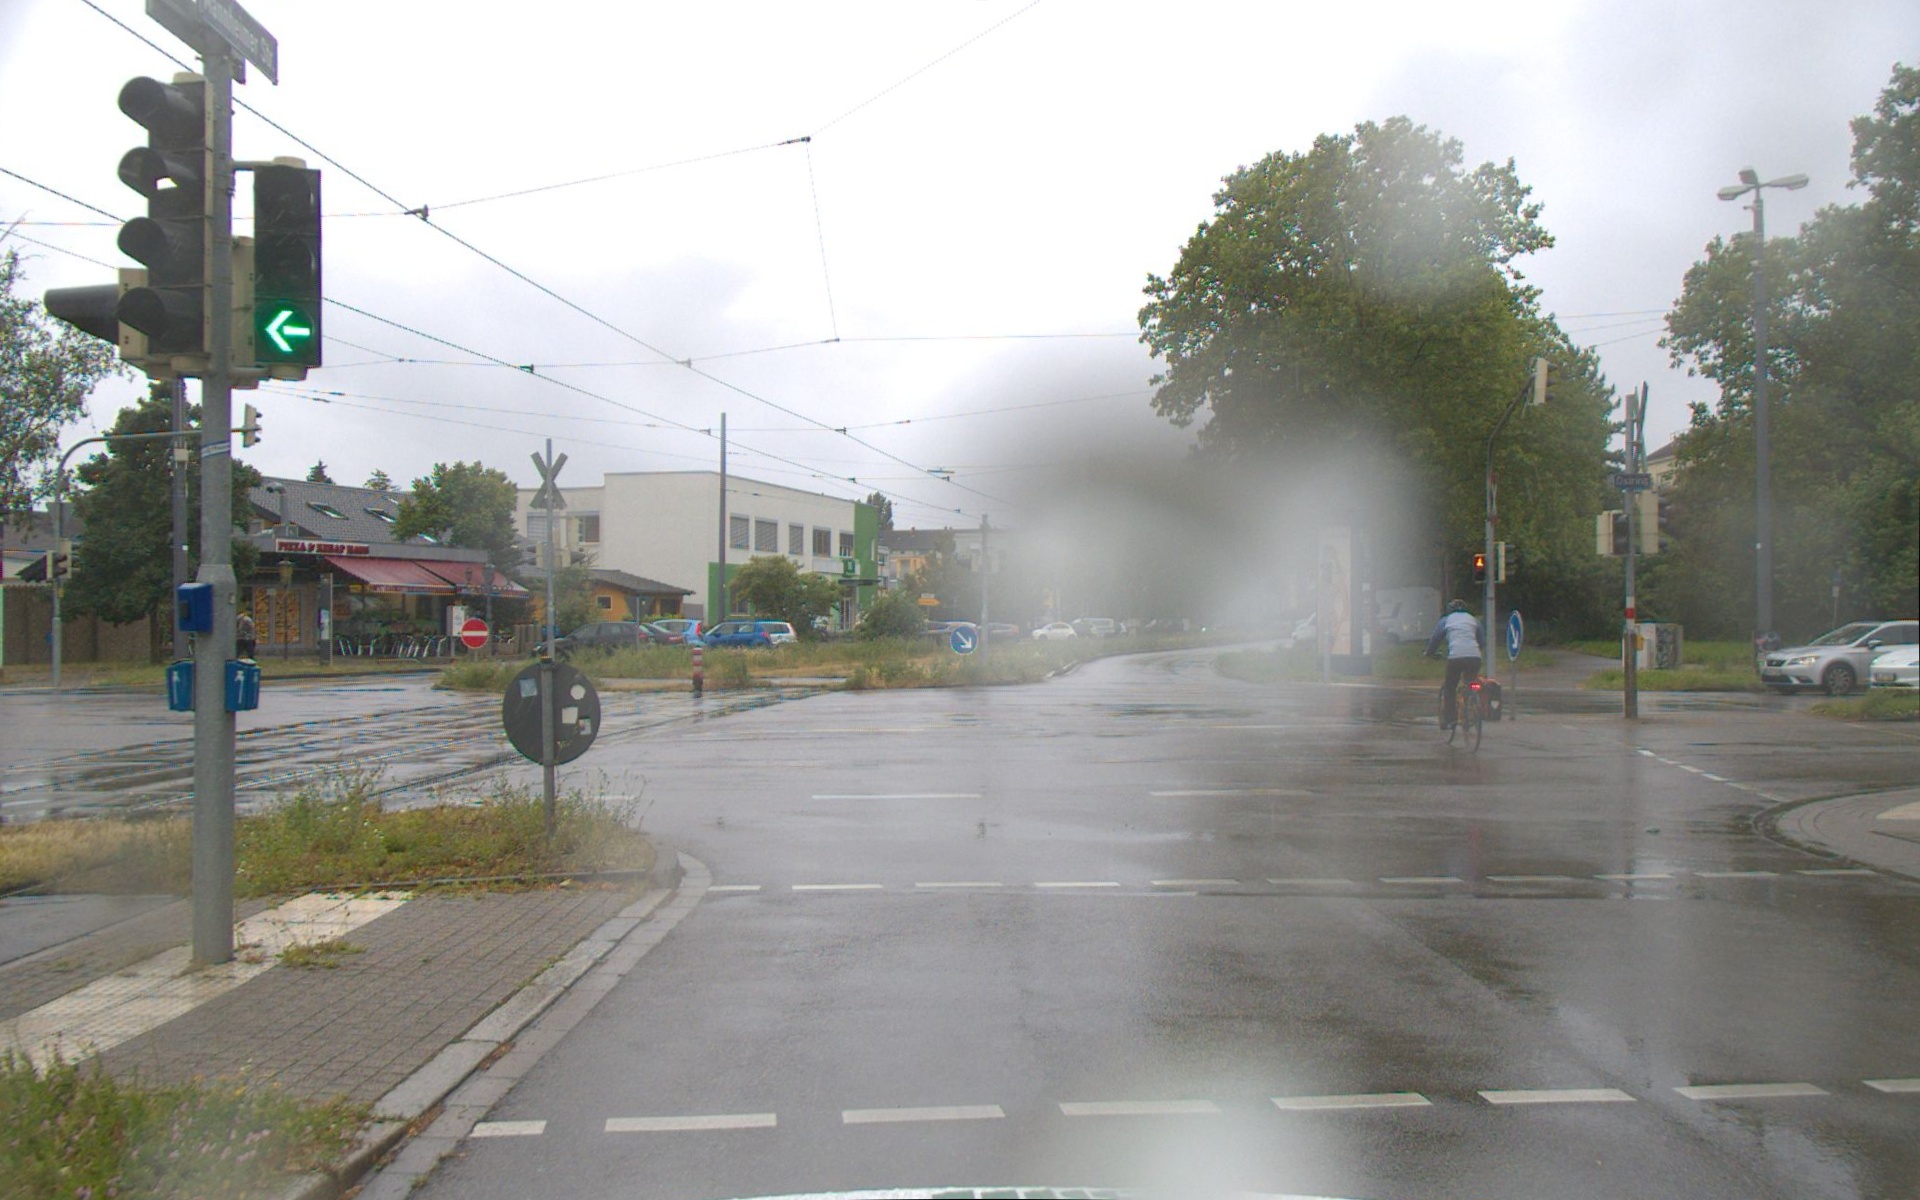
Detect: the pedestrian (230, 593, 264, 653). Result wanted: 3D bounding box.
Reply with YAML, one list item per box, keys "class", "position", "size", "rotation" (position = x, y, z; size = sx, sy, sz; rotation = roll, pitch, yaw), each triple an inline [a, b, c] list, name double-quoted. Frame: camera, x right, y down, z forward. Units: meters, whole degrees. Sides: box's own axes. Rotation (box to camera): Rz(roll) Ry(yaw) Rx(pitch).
- class: "pedestrian"
  position: [-24.812, 0.802, 57.569]
  size: [0.775, 2.049, 0.726]
  rotation: [1, -1, 4]

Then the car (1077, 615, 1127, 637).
- class: "car"
  position: [12.262, 2.269, 143.311]
  size: [3.917, 1.789, 2.004]
  rotation: [1, -1, -13]

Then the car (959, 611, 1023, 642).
- class: "car"
  position: [2.041, 1.717, 108.470]
  size: [3.912, 1.921, 1.996]
  rotation: [1, -1, -8]

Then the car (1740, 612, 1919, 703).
- class: "car"
  position: [18.134, 1.147, 32.987]
  size: [4.310, 1.721, 1.931]
  rotation: [1, -1, -7]

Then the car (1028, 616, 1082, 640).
- class: "car"
  position: [7.177, 2.094, 125.024]
  size: [3.707, 1.732, 1.832]
  rotation: [1, -1, -11]

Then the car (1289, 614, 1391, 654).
- class: "car"
  position: [17.512, 1.549, 76.160]
  size: [4.352, 1.747, 2.000]
  rotation: [1, -1, 20]

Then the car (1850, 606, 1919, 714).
- class: "car"
  position: [18.636, 1.084, 29.615]
  size: [4.506, 1.860, 1.931]
  rotation: [1, -1, -8]

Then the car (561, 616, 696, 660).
- class: "car"
  position: [-11.842, 1.360, 59.228]
  size: [4.405, 1.443, 1.858]
  rotation: [-2, -1, 0]

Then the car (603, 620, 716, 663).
- class: "car"
  position: [-11.347, 1.554, 62.622]
  size: [3.903, 1.609, 1.859]
  rotation: [0, -1, 3]

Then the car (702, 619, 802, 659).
- class: "car"
  position: [-8.914, 1.651, 70.830]
  size: [4.040, 1.670, 1.922]
  rotation: [0, -1, -15]

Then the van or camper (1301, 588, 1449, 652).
- class: "van or camper"
  position: [22.145, 1.069, 88.145]
  size: [7.273, 3.234, 3.262]
  rotation: [1, -1, 21]

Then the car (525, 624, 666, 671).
- class: "car"
  position: [-12.466, 1.607, 56.802]
  size: [4.386, 1.443, 1.858]
  rotation: [-2, -1, 0]

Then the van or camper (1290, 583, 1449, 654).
- class: "van or camper"
  position: [19.606, 0.880, 79.090]
  size: [7.168, 3.234, 3.264]
  rotation: [1, -1, 17]

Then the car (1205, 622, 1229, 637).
- class: "car"
  position: [29.436, 3.379, 189.037]
  size: [1.852, 1.691, 3.999]
  rotation: [1, -1, 22]

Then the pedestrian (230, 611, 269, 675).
- class: "pedestrian"
  position: [-20.866, 1.247, 48.596]
  size: [0.710, 1.829, 0.886]
  rotation: [2, 0, -1]

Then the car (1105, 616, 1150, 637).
- class: "car"
  position: [15.966, 2.521, 157.433]
  size: [3.910, 1.864, 1.997]
  rotation: [1, -1, -6]

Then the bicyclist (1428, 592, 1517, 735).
- class: "bicyclist"
  position: [5.654, 0.697, 18.290]
  size: [0.677, 1.532, 0.843]
  rotation: [1, -2, -4]

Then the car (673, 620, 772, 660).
- class: "car"
  position: [-9.738, 1.615, 67.641]
  size: [3.917, 1.609, 1.924]
  rotation: [0, -1, -12]

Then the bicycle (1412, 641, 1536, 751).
- class: "bicycle"
  position: [5.653, 1.028, 18.282]
  size: [0.677, 1.136, 1.883]
  rotation: [1, -1, -4]
